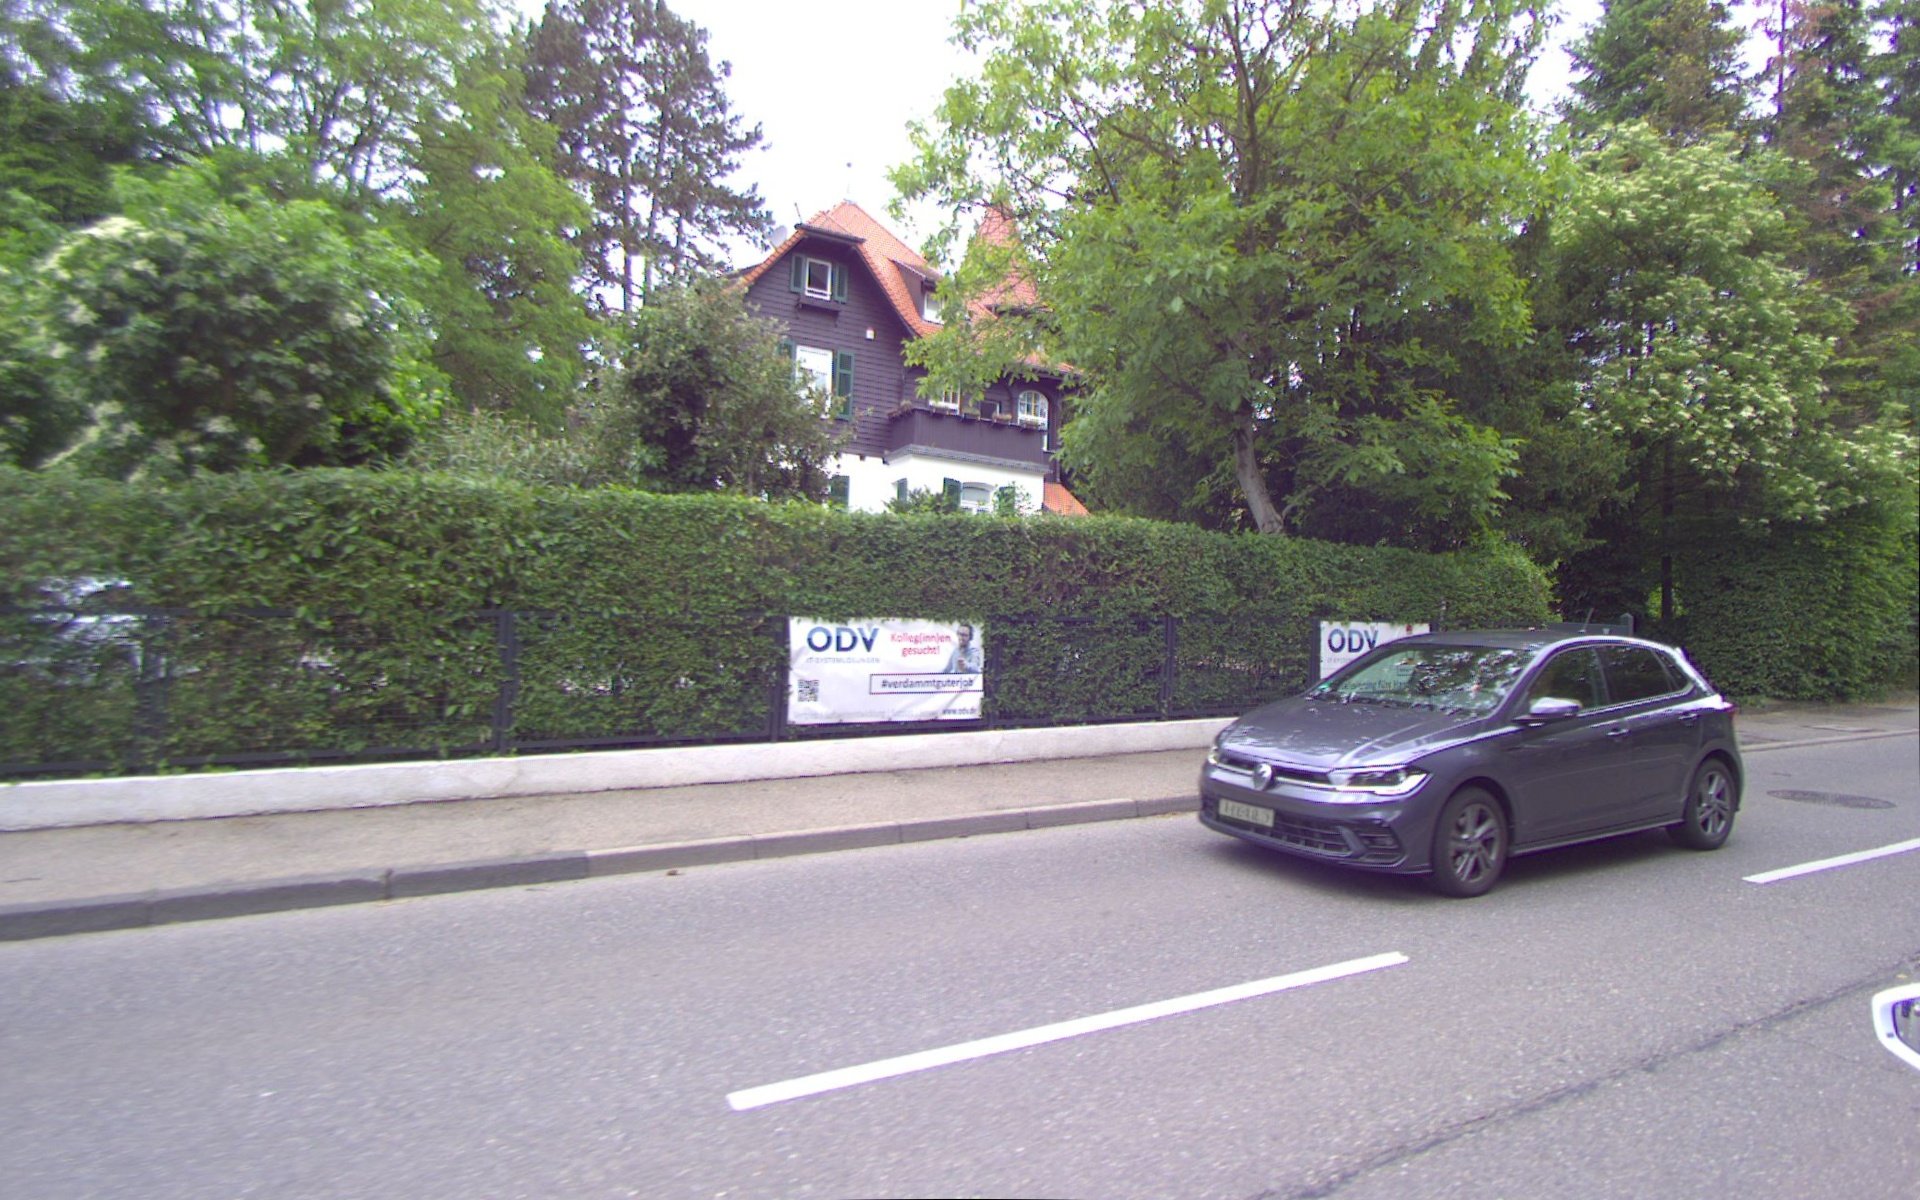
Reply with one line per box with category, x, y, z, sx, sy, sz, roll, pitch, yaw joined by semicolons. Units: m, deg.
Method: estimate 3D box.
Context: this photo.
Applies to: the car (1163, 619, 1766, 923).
car;3.427;0.883;6.682;3.968;1.491;1.673;1;-1;-29
